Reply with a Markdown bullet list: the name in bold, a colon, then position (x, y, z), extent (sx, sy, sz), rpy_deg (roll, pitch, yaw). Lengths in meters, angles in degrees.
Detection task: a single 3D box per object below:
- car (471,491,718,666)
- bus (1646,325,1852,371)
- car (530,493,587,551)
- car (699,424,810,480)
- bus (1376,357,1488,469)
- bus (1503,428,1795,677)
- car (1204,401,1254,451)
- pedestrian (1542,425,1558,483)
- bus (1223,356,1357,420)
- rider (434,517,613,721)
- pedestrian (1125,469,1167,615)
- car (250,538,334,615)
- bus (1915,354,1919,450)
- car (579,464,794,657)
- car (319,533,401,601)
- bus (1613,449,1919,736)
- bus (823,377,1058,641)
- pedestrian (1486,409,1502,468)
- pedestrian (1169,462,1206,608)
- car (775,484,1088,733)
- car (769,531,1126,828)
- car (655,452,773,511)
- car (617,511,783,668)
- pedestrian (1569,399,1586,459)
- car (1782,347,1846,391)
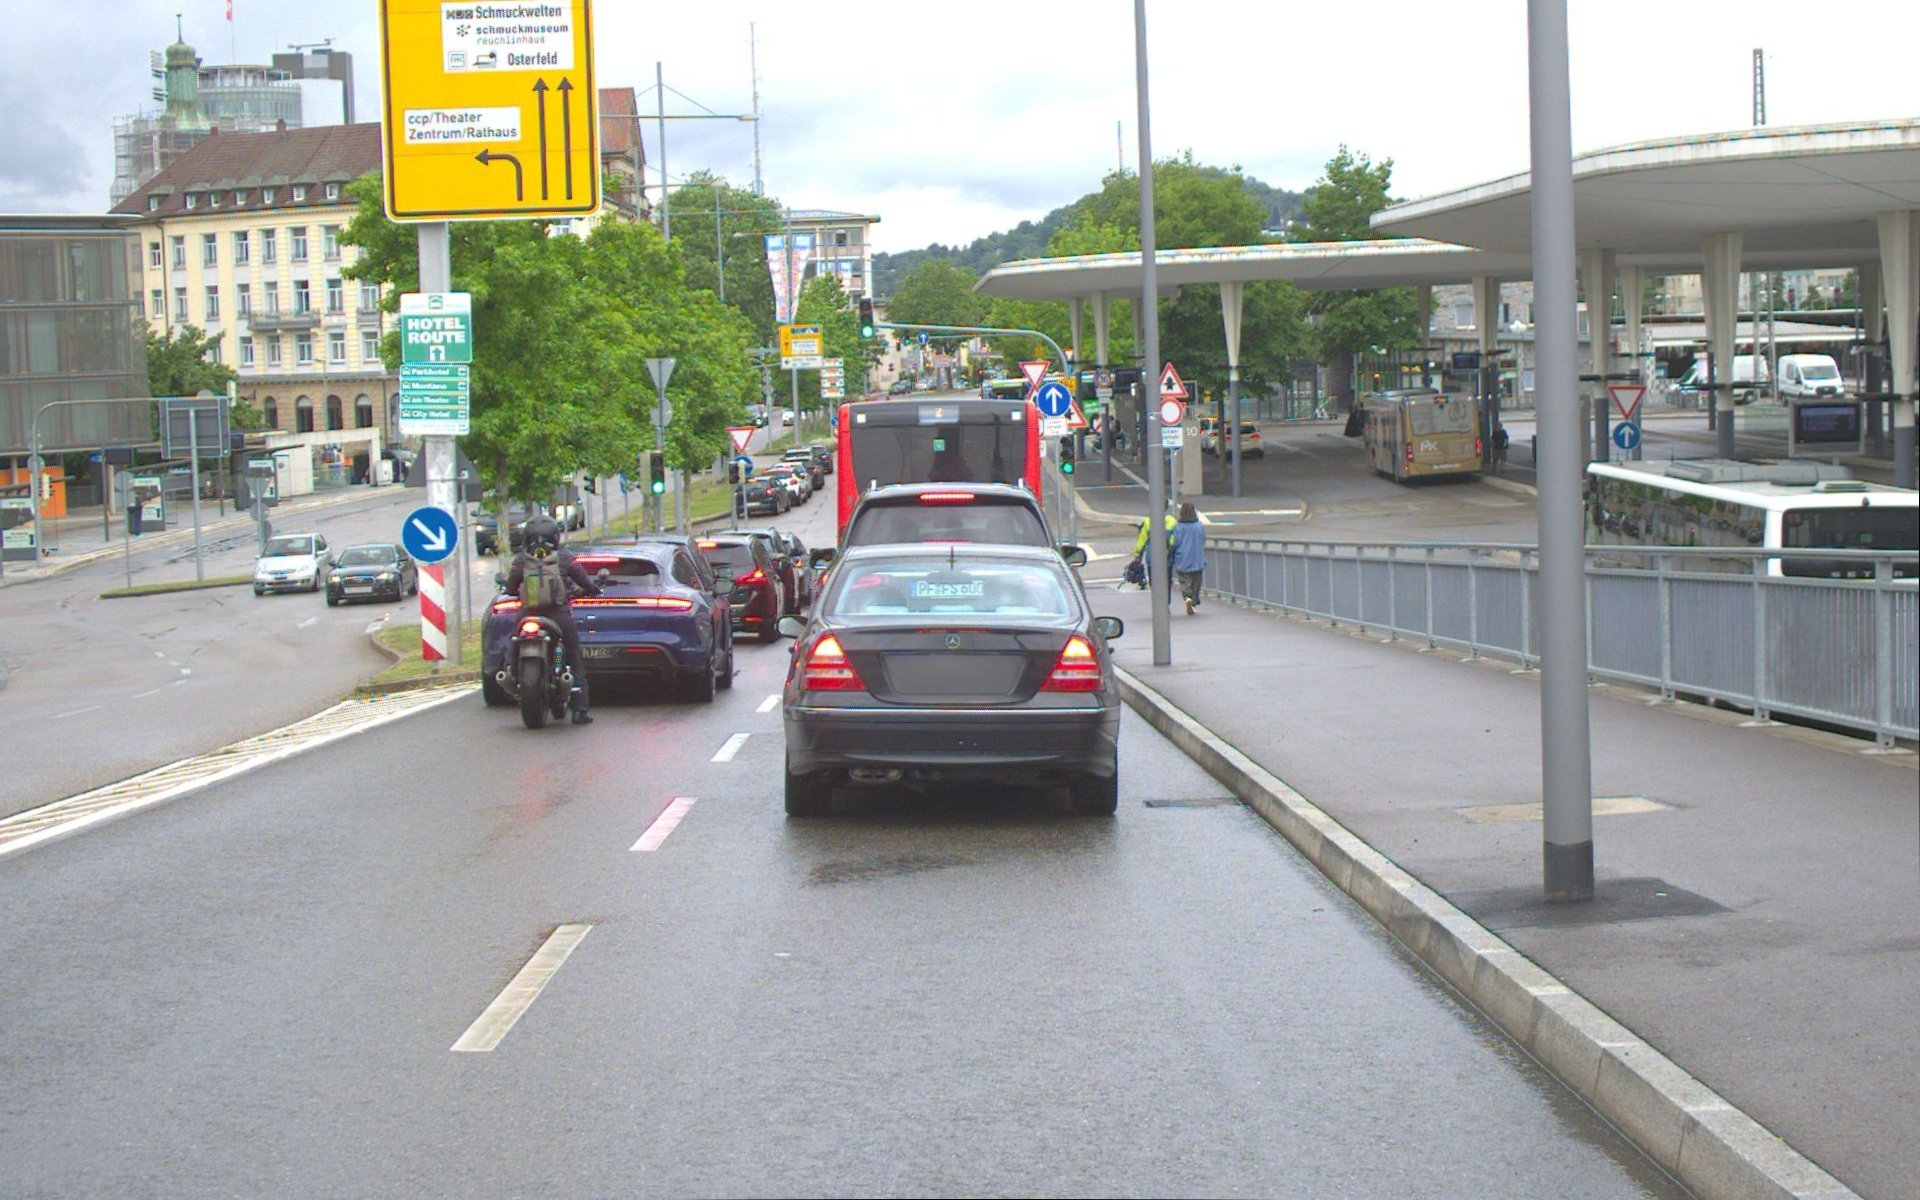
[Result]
- **car**: position (-3.172, -0.239, 30.537), extent (1.760, 1.431, 4.000), rpy_deg (0, 2, 0)
- **bus**: position (40.798, -13.038, 177.888), extent (10.167, 2.006, 2.170), rpy_deg (-2, 2, -3)
- **car**: position (-14.914, -2.876, 127.614), extent (1.993, 2.007, 4.203), rpy_deg (-2, 1, -7)
- **car**: position (-7.927, -5.720, 132.768), extent (3.987, 2.006, 2.000), rpy_deg (-2, 2, 4)
- **bus**: position (16.379, -6.426, 119.957), extent (3.179, 3.588, 10.509), rpy_deg (-2, 2, 5)
- **bus**: position (10.587, -0.860, 53.517), extent (2.646, 3.224, 7.074), rpy_deg (-2, 5, -4)
- **car**: position (11.412, -7.363, 145.657), extent (1.994, 2.006, 4.000), rpy_deg (-2, 2, 5)
- **pedestrian**: position (20.642, -5.097, 120.274), extent (0.424, 2.006, 0.483), rpy_deg (-2, 2, 2)
- **bus**: position (19.059, -12.259, 198.655), extent (7.197, 3.384, 3.083), rpy_deg (-2, 3, -4)
- **rider**: position (-3.298, 0.112, 26.162), extent (0.881, 1.467, 2.196), rpy_deg (0, 2, 6)
- **pedestrian**: position (2.588, -0.808, 47.846), extent (0.489, 2.007, 0.469), rpy_deg (-2, 0, 2)
- **car**: position (-18.671, -0.677, 96.220), extent (1.993, 2.006, 4.001), rpy_deg (-3, 1, -8)
- **bus**: position (33.401, -6.502, 112.276), extent (2.600, 3.198, 6.994), rpy_deg (-2, 3, 2)
- **car**: position (-2.950, -0.478, 37.848), extent (1.993, 1.999, 4.000), rpy_deg (0, 2, 1)
- **car**: position (-15.376, -0.867, 88.239), extent (1.832, 1.521, 4.596), rpy_deg (-3, 3, -8)
- **bus**: position (11.048, -0.246, 46.416), extent (2.645, 3.225, 7.074), rpy_deg (0, 5, -4)
- **bus**: position (-0.294, -1.251, 46.943), extent (2.827, 3.178, 10.310), rpy_deg (0, 2, -1)
- **pedestrian**: position (18.288, -5.535, 117.830), extent (0.424, 2.006, 0.483), rpy_deg (-2, 2, 2)
- **pedestrian**: position (3.161, -0.899, 47.799), extent (0.424, 2.007, 0.483), rpy_deg (-2, 0, 2)
- **car**: position (-0.124, -0.004, 25.309), extent (1.827, 1.681, 3.999), rpy_deg (0, 2, 6)
- **car**: position (-0.071, 0.345, 18.330), extent (1.706, 1.414, 3.726), rpy_deg (0, 1, 0)
- **car**: position (-9.039, -4.358, 126.573), extent (3.987, 2.006, 2.000), rpy_deg (-2, 2, 4)
- **car**: position (-3.475, -0.189, 46.576), extent (1.993, 1.999, 4.001), rpy_deg (0, 2, -1)
- **pedestrian**: position (20.974, -5.809, 116.723), extent (0.424, 2.007, 0.483), rpy_deg (-2, 0, 2)
- **car**: position (41.072, -11.096, 165.469), extent (1.993, 2.006, 4.001), rpy_deg (-2, 3, -1)
